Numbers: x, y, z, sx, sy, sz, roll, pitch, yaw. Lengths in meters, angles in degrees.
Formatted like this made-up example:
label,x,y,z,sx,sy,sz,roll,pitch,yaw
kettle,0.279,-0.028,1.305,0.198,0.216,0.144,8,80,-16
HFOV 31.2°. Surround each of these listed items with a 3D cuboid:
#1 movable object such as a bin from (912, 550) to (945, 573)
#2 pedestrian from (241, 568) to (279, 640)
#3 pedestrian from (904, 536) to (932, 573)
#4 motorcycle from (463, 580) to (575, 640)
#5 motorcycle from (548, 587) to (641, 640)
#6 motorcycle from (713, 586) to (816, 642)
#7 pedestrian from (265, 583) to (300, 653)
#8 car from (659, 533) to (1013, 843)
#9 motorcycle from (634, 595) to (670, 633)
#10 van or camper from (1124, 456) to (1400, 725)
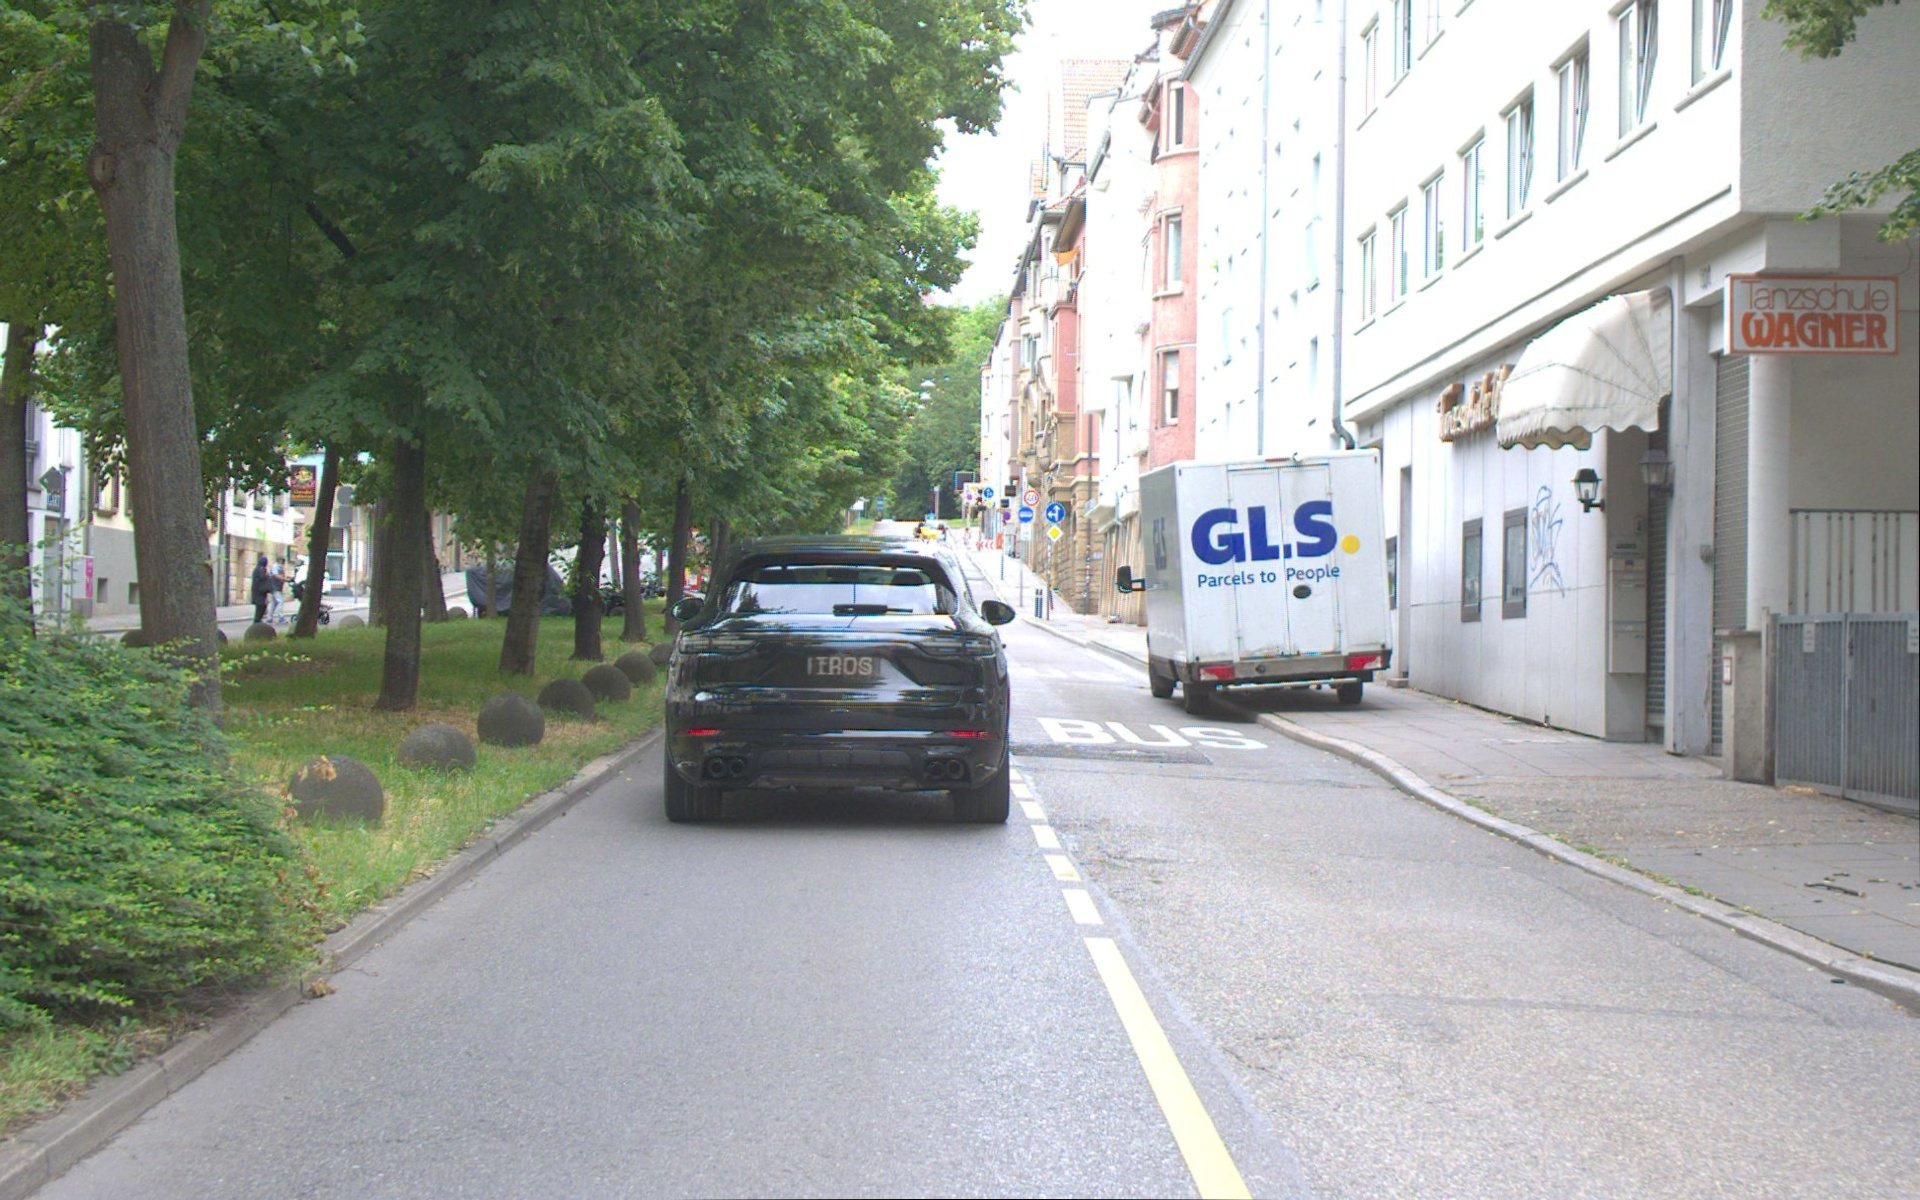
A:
label,x,y,z,sx,sy,sz,roll,pitch,yaw
movable object such as a bin,-1.752,-2.136,190.697,1.236,1.270,1.847,1,0,-22
pedestrian,-15.897,0.096,78.098,0.634,1.607,0.764,2,0,2
pedestrian,-2.339,-2.536,192.007,1.300,2.007,1.020,1,0,-17
motorcycle,-9.892,0.222,77.154,2.382,1.312,1.046,1,0,-2
motorcycle,-8.572,0.314,80.610,2.029,1.231,0.896,1,0,4
motorcycle,-4.526,0.321,79.873,2.355,1.231,1.033,1,1,-2
pedestrian,-15.654,0.412,79.447,0.662,1.611,0.579,1,0,1
car,-0.762,0.481,20.816,1.903,1.660,4.136,1,0,-2
motorcycle,-9.353,0.438,104.314,0.900,1.103,2.251,0,-2,0
van or camper,3.354,-0.105,39.867,2.480,2.793,7.238,1,0,0
